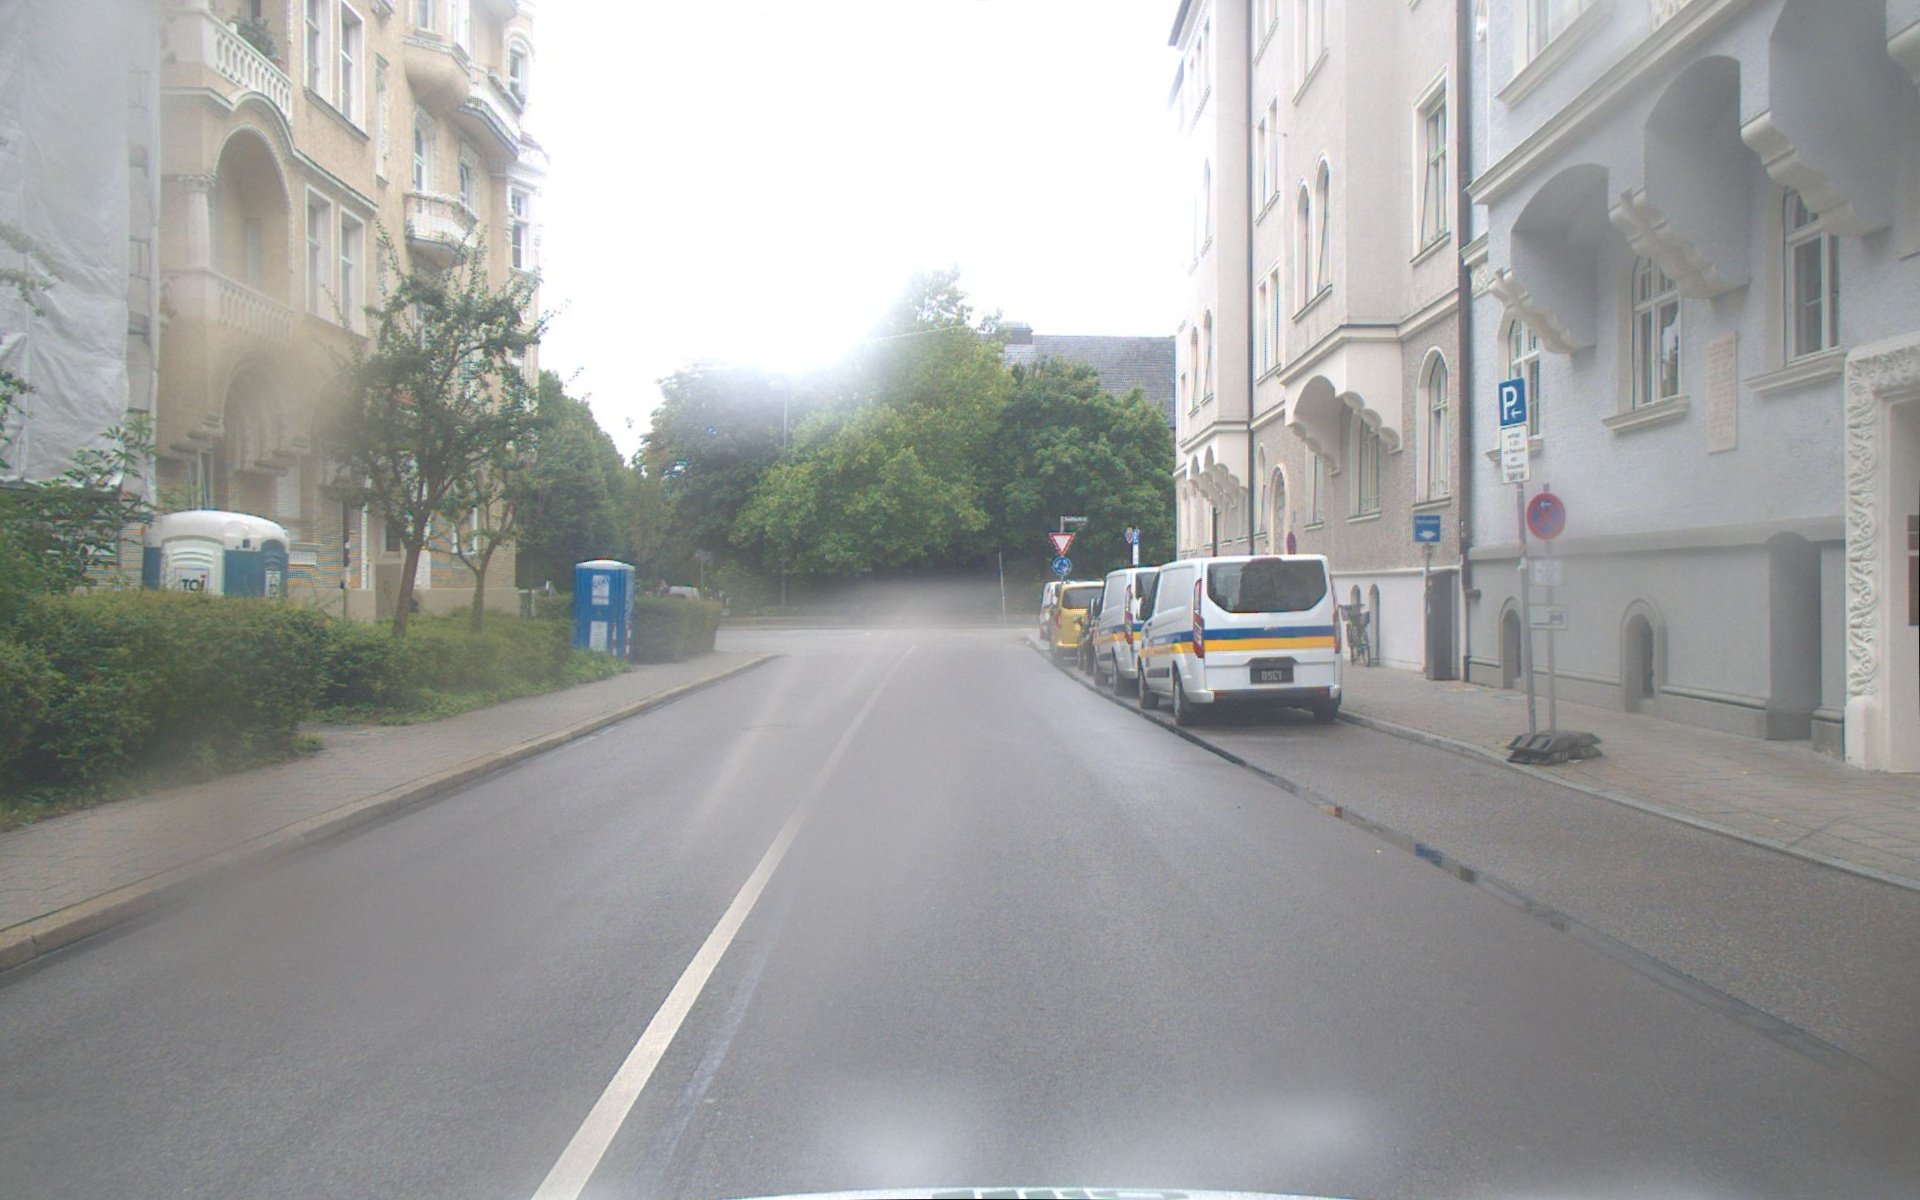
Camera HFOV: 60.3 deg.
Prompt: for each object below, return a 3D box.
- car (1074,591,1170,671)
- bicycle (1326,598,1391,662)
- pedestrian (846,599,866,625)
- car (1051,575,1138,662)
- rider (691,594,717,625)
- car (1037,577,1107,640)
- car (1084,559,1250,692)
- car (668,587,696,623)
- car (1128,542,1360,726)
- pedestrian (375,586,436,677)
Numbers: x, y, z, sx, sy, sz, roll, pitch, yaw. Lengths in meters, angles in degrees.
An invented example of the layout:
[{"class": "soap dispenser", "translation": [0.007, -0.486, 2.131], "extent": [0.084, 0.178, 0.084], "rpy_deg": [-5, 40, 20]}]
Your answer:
[{"class": "car", "translation": [3.228, 0.590, 33.532], "extent": [1.598, 1.510, 3.784], "rpy_deg": [-1, 0, 1]}, {"class": "bicycle", "translation": [7.482, 0.543, 31.137], "extent": [0.680, 1.112, 2.037], "rpy_deg": [-3, 0, 0]}, {"class": "pedestrian", "translation": [-4.995, 0.571, 79.595], "extent": [0.794, 1.209, 0.920], "rpy_deg": [-1, 0, 6]}, {"class": "car", "translation": [3.070, 0.388, 38.626], "extent": [1.812, 1.885, 4.822], "rpy_deg": [-1, 0, 2]}, {"class": "rider", "translation": [-14.312, 0.531, 92.482], "extent": [1.059, 1.696, 1.140], "rpy_deg": [-3, 0, 7]}, {"class": "car", "translation": [3.799, 0.265, 56.853], "extent": [1.877, 1.996, 4.926], "rpy_deg": [-2, 0, -1]}, {"class": "car", "translation": [3.309, 0.376, 27.454], "extent": [1.920, 1.971, 4.991], "rpy_deg": [-1, 0, -2]}, {"class": "car", "translation": [-20.970, 0.345, 124.532], "extent": [2.004, 2.603, 5.235], "rpy_deg": [-1, 0, -10]}, {"class": "car", "translation": [3.492, 0.375, 21.312], "extent": [1.920, 2.049, 4.991], "rpy_deg": [-1, 0, -2]}, {"class": "pedestrian", "translation": [-11.112, 0.622, 33.165], "extent": [0.895, 1.782, 0.948], "rpy_deg": [-1, 0, -1]}]
